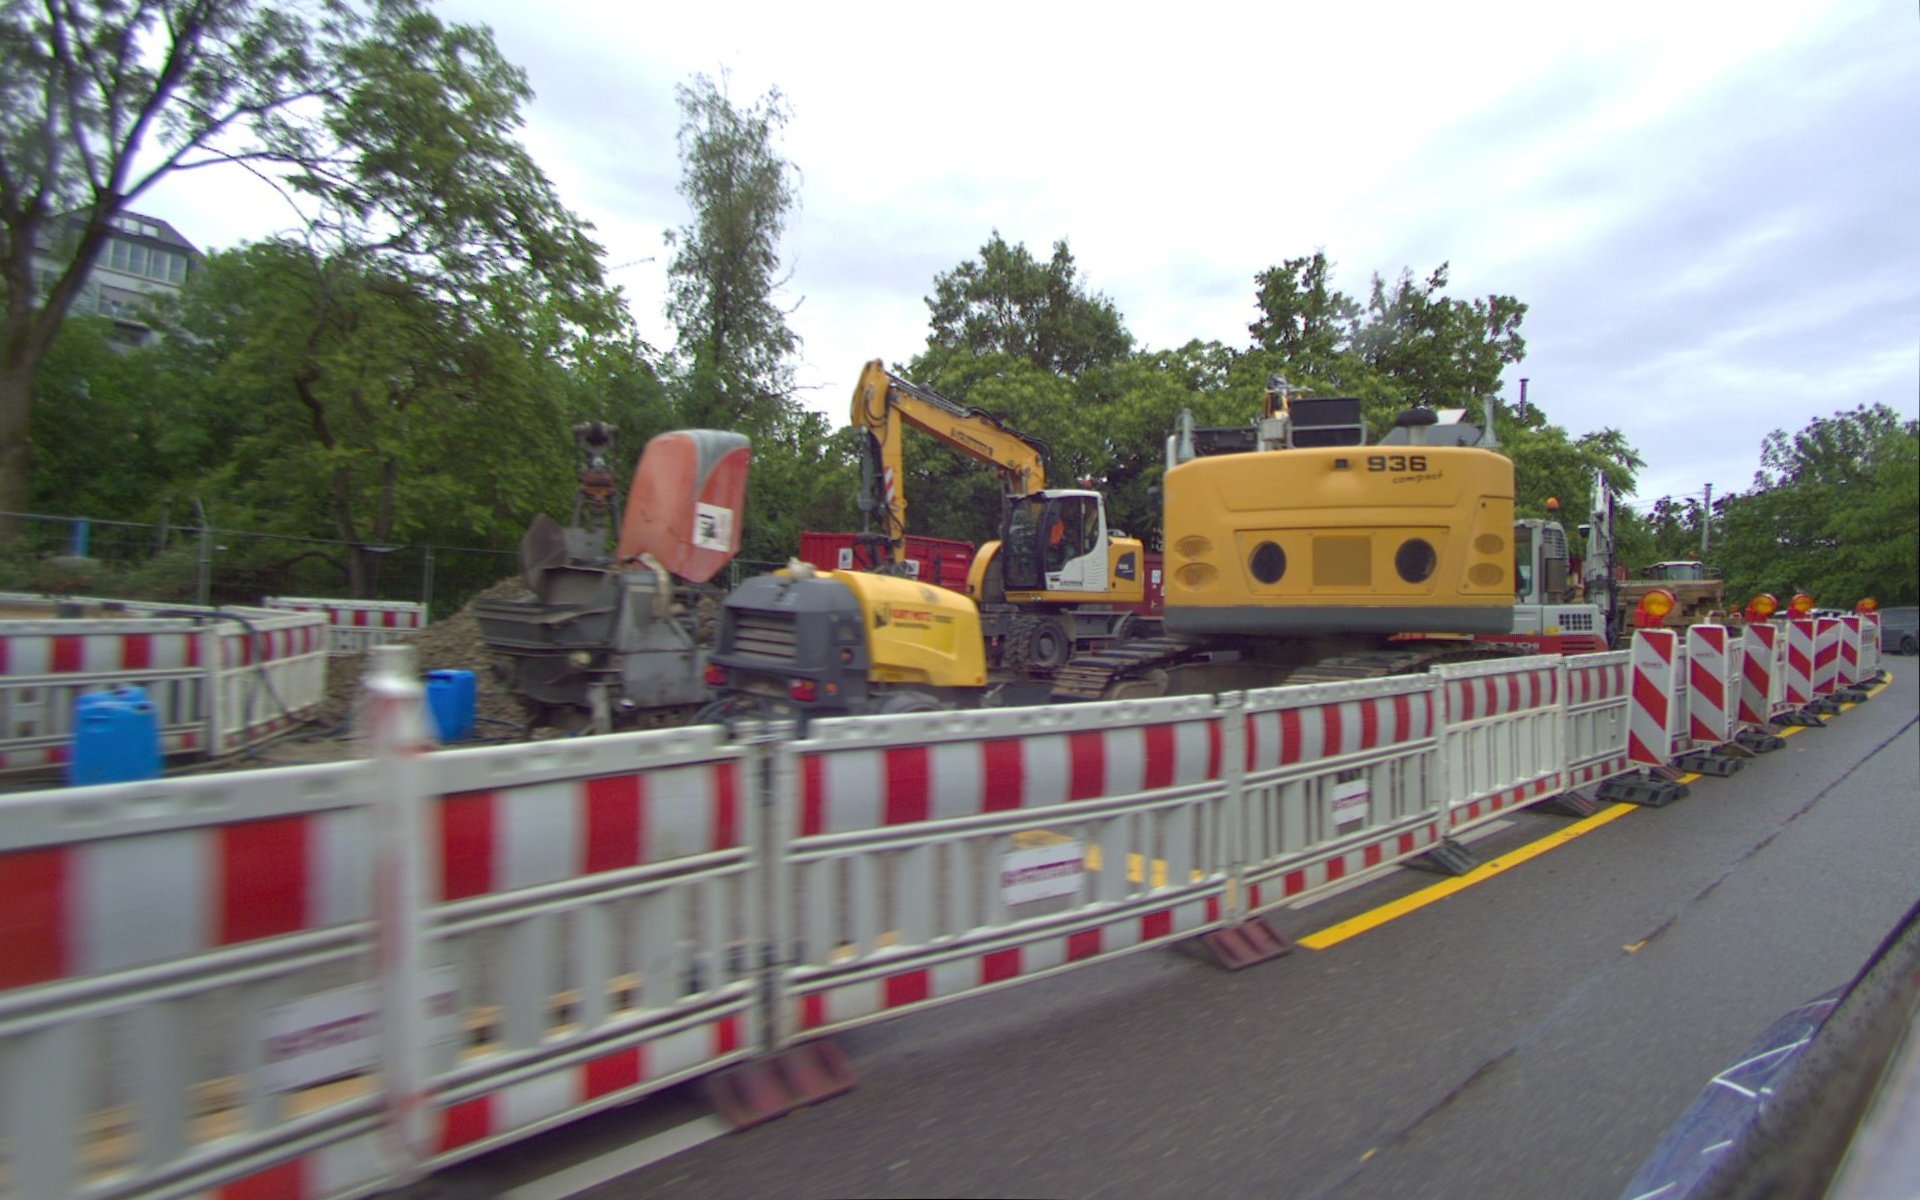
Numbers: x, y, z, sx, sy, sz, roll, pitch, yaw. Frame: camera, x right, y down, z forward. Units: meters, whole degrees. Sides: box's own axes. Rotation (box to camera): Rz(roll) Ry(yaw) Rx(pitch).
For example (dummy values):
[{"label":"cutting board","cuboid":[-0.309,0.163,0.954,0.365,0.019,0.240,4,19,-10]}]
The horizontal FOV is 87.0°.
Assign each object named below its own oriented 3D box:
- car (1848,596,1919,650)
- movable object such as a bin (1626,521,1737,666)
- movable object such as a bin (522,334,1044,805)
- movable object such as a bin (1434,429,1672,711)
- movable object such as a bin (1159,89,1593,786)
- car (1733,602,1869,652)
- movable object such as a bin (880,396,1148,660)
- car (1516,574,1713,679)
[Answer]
[{"label":"car","cuboid":[37.336,0.922,39.329,1.969,2.039,4.931,2,-1,11]},{"label":"movable object such as a bin","cuboid":[19.713,-0.059,27.540,2.073,3.269,5.204,0,-6,40]},{"label":"movable object such as a bin","cuboid":[-1.647,-0.138,9.104,3.980,3.246,2.372,1,-6,39]},{"label":"movable object such as a bin","cuboid":[8.302,-0.442,14.048,1.994,3.345,3.775,2,3,44]},{"label":"movable object such as a bin","cuboid":[4.117,-1.384,12.864,3.020,4.978,10.786,0,2,12]},{"label":"car","cuboid":[37.832,1.206,45.715,1.834,2.039,4.817,3,-2,-5]},{"label":"movable object such as a bin","cuboid":[1.044,-1.059,17.377,4.540,3.938,1.995,1,0,-44]},{"label":"car","cuboid":[12.845,0.468,19.731,4.911,1.802,1.996,1,0,-42]}]
